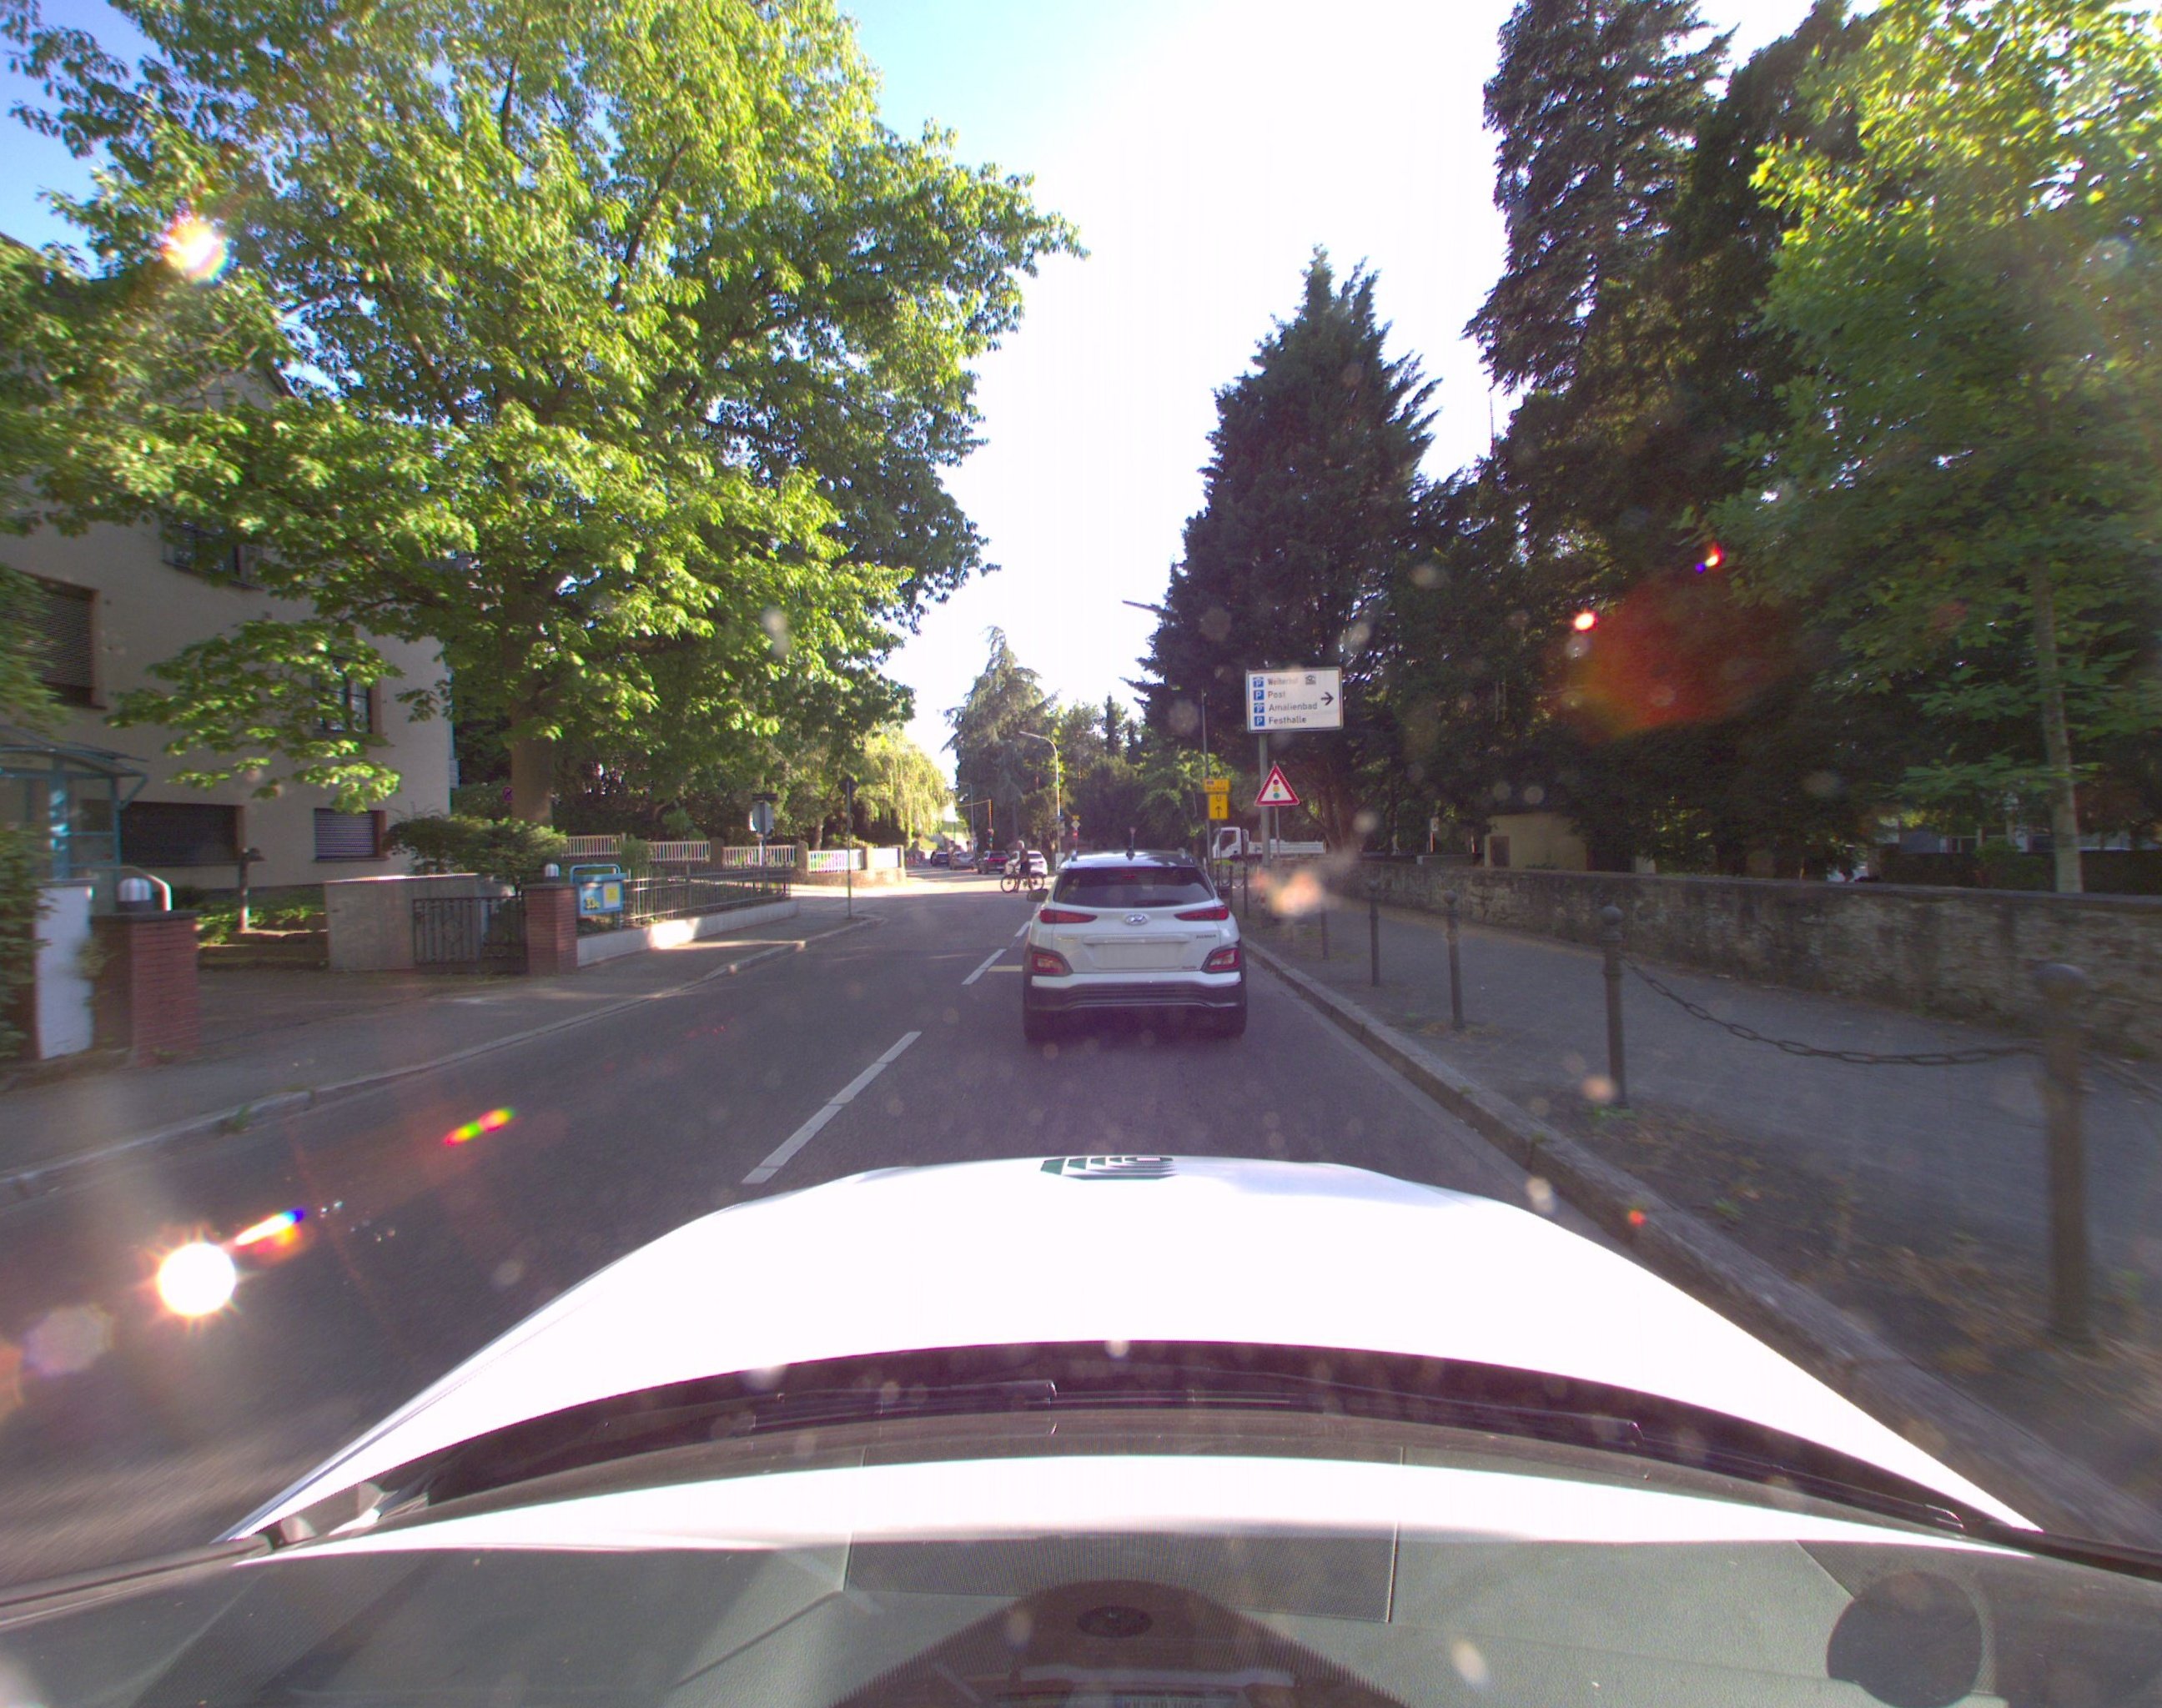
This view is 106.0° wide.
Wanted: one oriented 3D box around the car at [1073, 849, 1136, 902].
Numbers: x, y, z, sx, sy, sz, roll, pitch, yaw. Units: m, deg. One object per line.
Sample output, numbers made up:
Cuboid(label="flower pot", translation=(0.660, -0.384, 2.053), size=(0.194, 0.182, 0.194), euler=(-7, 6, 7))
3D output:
Cuboid(label="car", translation=(0.714, 0.576, 24.332), size=(1.701, 1.434, 4.367), euler=(0, 0, 2))

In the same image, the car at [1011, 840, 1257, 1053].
Cuboid(label="car", translation=(0.448, 0.680, 8.061), size=(1.814, 1.574, 4.001), euler=(0, 0, 1))

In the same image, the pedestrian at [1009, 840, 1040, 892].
Cuboid(label="pedestrian", translation=(-2.010, 0.406, 29.069), size=(0.947, 1.826, 0.548), euler=(0, 0, -37))

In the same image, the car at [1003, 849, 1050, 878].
Cuboid(label="car", translation=(-3.122, 0.515, 45.633), size=(1.809, 1.537, 3.978), euler=(0, 0, -16))

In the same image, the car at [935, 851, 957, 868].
Cuboid(label="car", translation=(-14.035, 0.531, 84.483), size=(1.835, 1.662, 3.979), euler=(0, 0, -15))

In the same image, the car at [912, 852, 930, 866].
Cuboid(label="car", translation=(-20.075, 0.587, 101.870), size=(1.836, 1.662, 3.978), euler=(0, 0, -16))

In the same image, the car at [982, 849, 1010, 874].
Cuboid(label="car", translation=(-5.894, 0.510, 56.926), size=(1.828, 1.662, 3.994), euler=(0, 0, -4))

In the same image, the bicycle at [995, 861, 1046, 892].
Cuboid(label="bicycle", translation=(-2.191, 0.806, 29.574), size=(1.825, 1.043, 0.555), euler=(0, 2, -36))

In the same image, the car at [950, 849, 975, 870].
Cuboid(label="car", translation=(-10.464, 0.459, 71.635), size=(1.834, 1.740, 3.981), euler=(0, 0, -14))

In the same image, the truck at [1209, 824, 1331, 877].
Cuboid(label="truck", translation=(10.662, -0.211, 46.367), size=(6.553, 2.895, 2.438), euler=(0, 0, 6))
